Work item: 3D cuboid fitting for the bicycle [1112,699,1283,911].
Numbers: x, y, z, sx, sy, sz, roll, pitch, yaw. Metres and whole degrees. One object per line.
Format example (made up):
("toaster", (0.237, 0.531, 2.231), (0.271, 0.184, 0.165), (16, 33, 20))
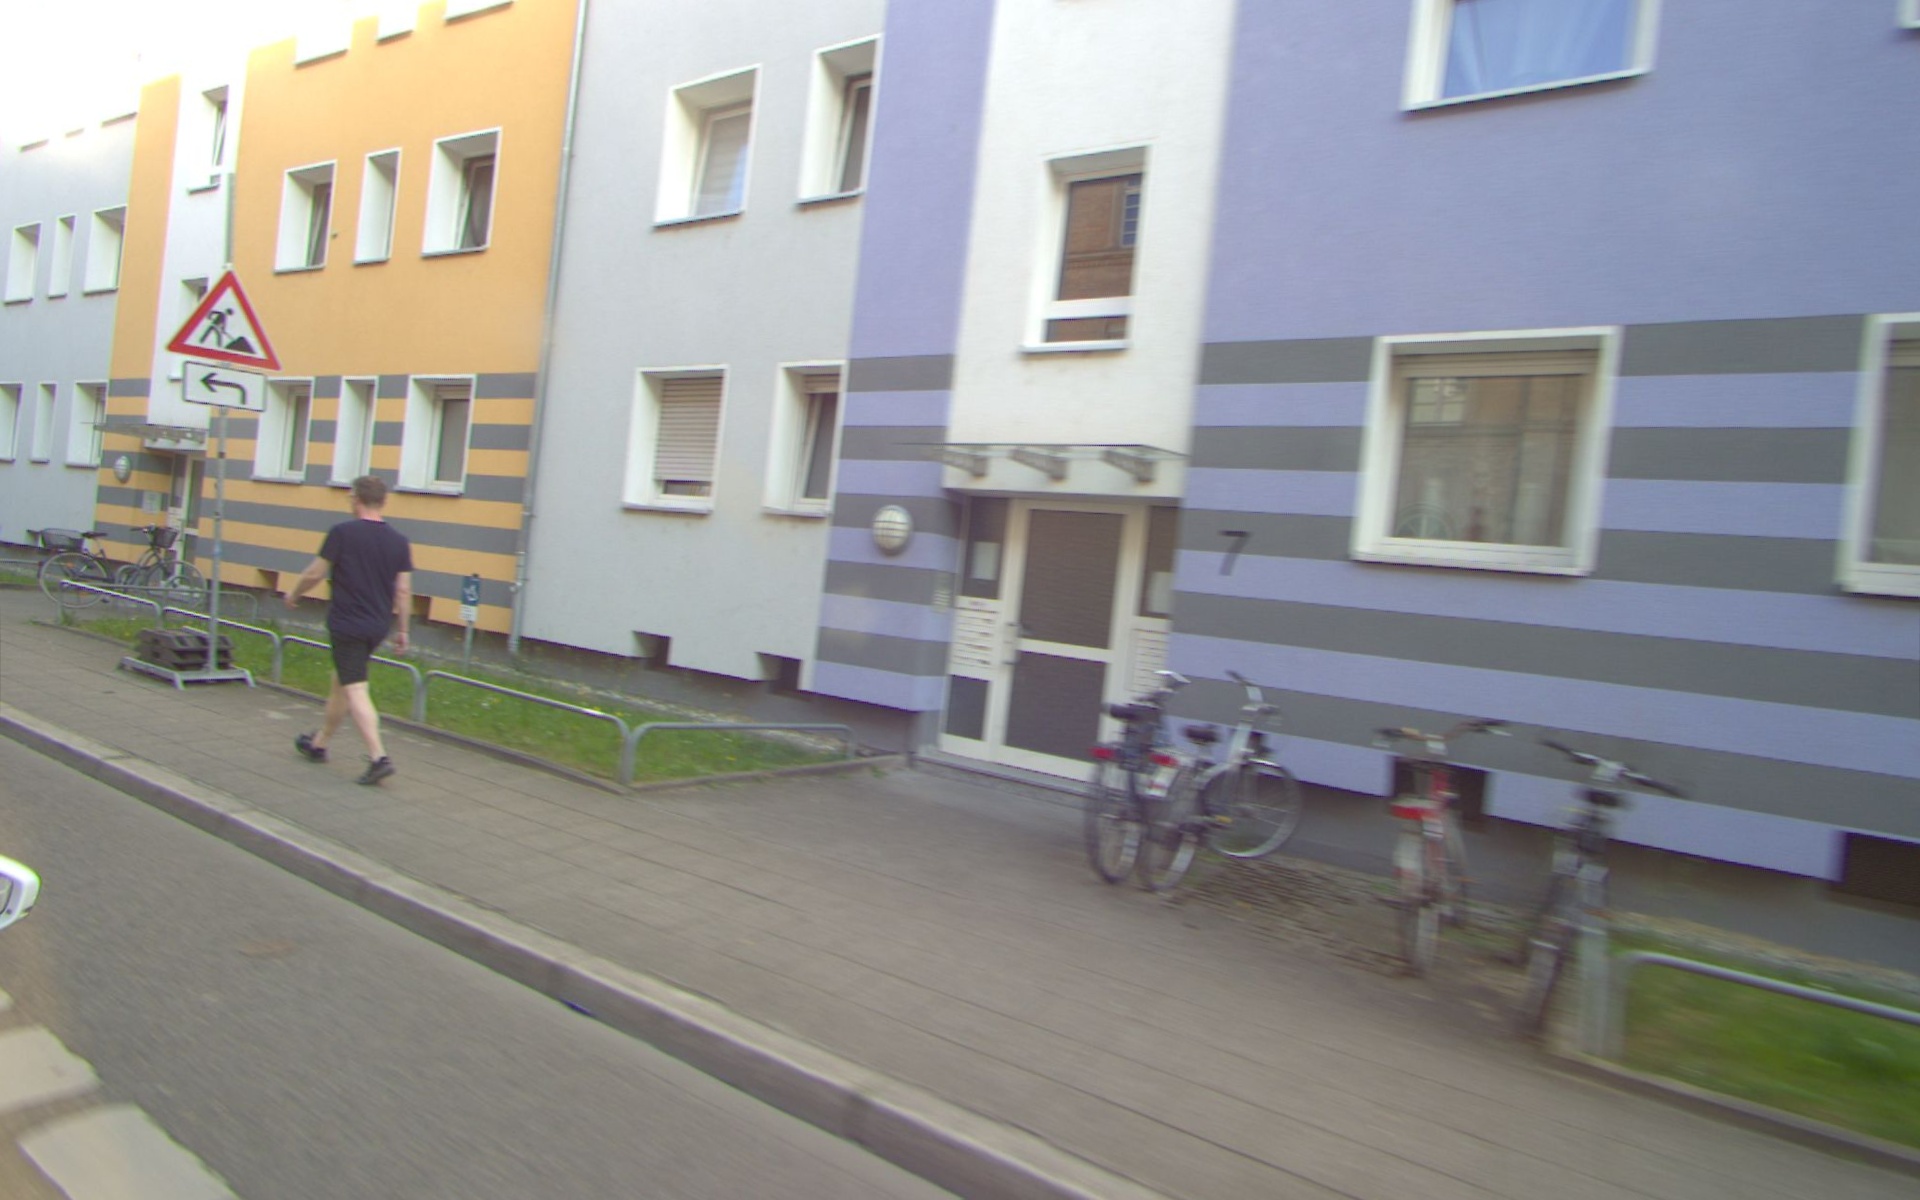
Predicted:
("bicycle", (1.408, 1.082, 5.730), (0.320, 0.958, 1.749), (6, 0, 32))

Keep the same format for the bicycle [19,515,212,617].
("bicycle", (-11.109, -0.416, 13.314), (0.542, 1.151, 1.813), (6, 0, 30))

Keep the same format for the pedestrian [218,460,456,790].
("pedestrian", (-3.780, 0.112, 6.094), (1.169, 1.783, 0.697), (7, 3, 32))

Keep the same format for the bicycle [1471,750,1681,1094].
("bicycle", (2.595, 1.222, 4.285), (0.543, 0.958, 1.750), (6, 0, 31))

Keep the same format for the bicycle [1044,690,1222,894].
("bicycle", (1.070, 1.041, 5.889), (0.329, 0.958, 1.750), (6, 0, 31))

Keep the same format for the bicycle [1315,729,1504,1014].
("bicycle", (2.225, 1.185, 4.856), (0.543, 0.958, 1.750), (6, 0, 31))
